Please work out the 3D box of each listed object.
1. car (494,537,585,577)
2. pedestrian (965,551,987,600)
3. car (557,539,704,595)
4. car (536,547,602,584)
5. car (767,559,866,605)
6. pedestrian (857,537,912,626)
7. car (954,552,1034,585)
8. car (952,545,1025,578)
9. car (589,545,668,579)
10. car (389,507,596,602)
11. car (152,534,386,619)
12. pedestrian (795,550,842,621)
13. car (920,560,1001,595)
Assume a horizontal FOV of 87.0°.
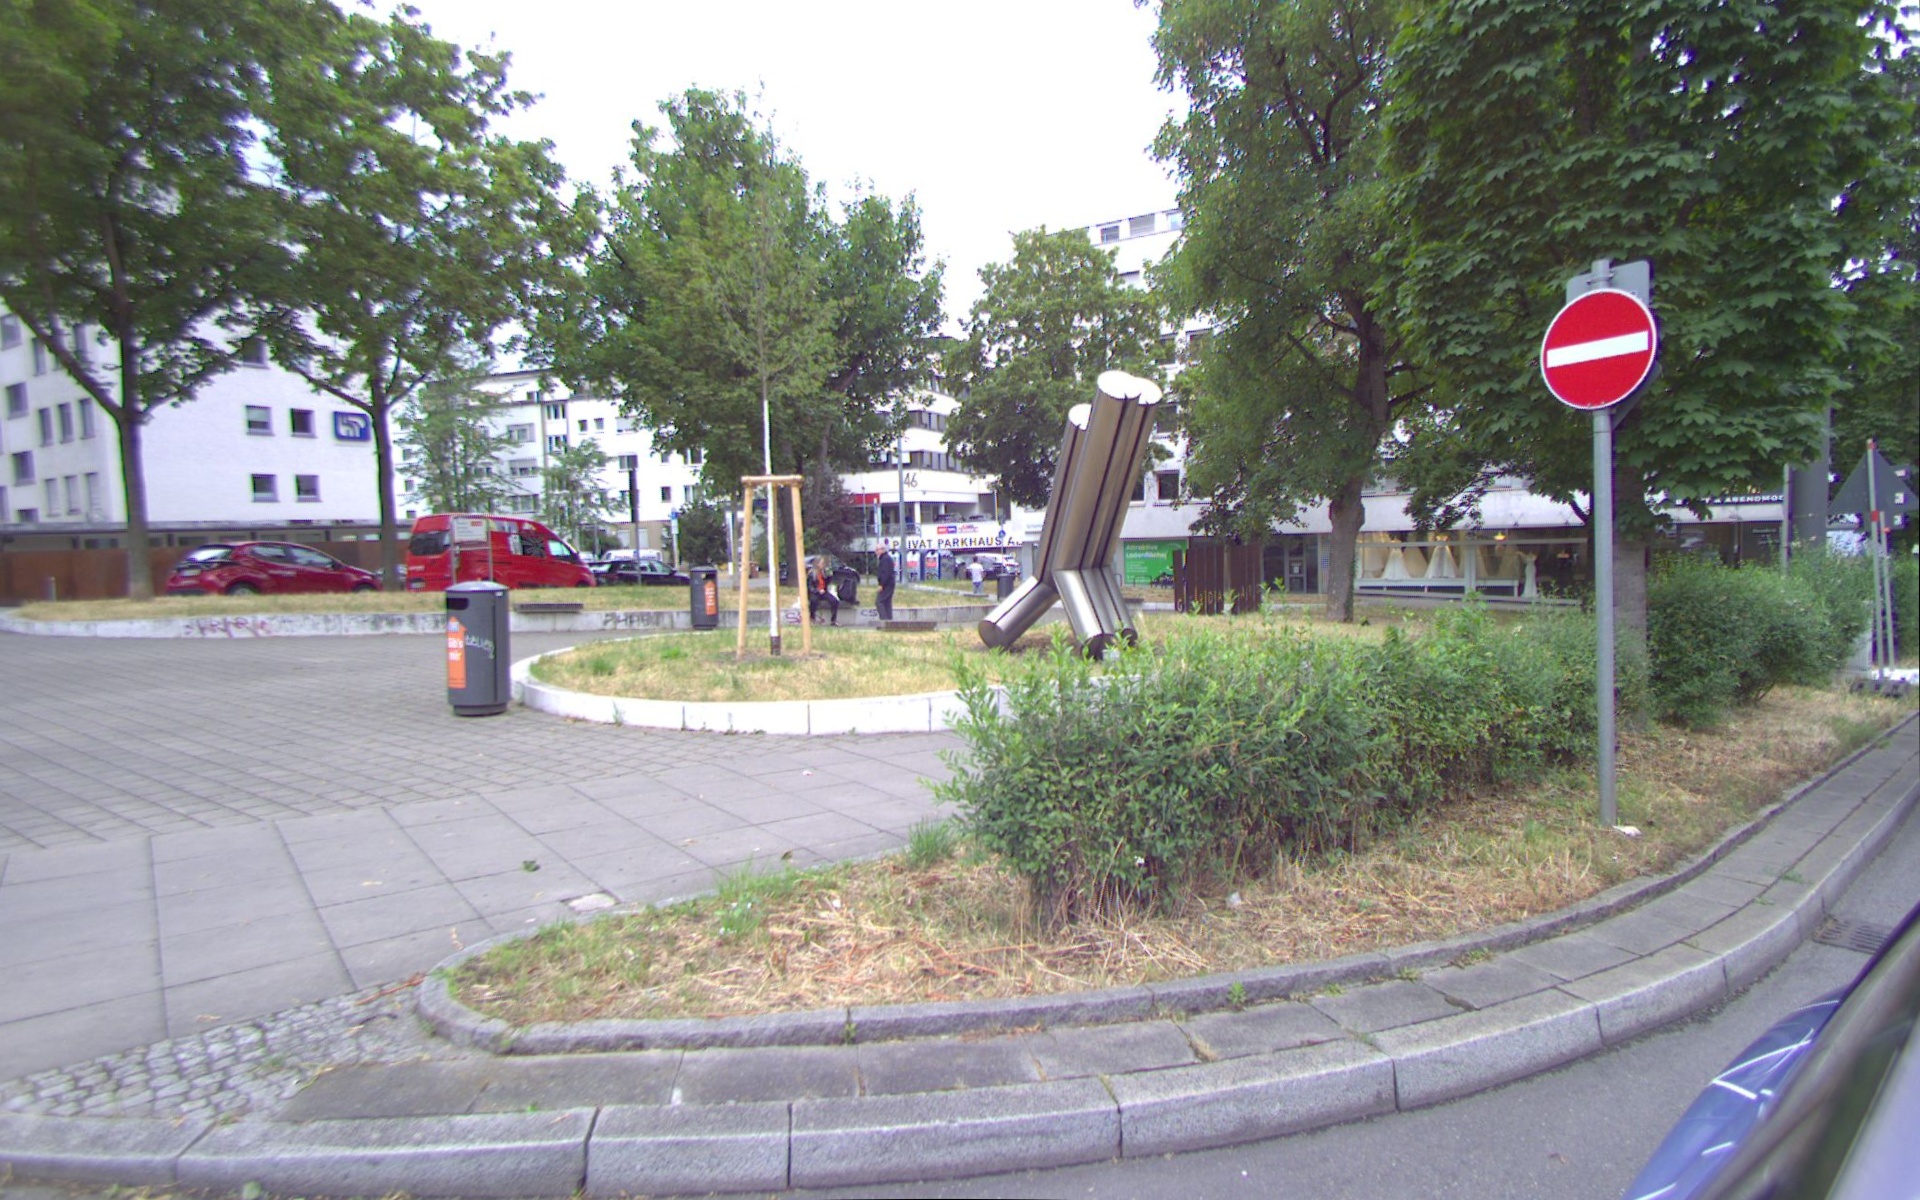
[{"bbox_3d":[-20.892,-2.108,50.195,4.582,1.900,2.078,2,2,35],"label":"car"},{"bbox_3d":[0.510,-0.794,32.613,0.517,1.552,0.675,0,2,-15],"label":"pedestrian"},{"bbox_3d":[-10.086,-1.021,31.348,1.977,1.584,4.383,1,2,22],"label":"car"},{"bbox_3d":[-24.435,-2.158,63.156,3.969,2.272,1.985,2,2,34],"label":"car"},{"bbox_3d":[-5.914,-0.778,42.310,1.977,1.762,4.750,1,2,22],"label":"car"},{"bbox_3d":[-1.402,-0.358,18.844,0.719,1.622,0.786,1,2,26],"label":"pedestrian"},{"bbox_3d":[1.844,-1.736,55.058,3.982,1.738,1.972,2,3,40],"label":"car"},{"bbox_3d":[1.594,-2.169,58.033,3.977,1.708,1.667,-1,0,38],"label":"car"},{"bbox_3d":[-19.491,-2.245,59.402,4.760,1.969,2.198,2,2,38],"label":"car"},{"bbox_3d":[-12.000,-1.160,26.398,2.101,2.240,4.862,1,2,20],"label":"car"},{"bbox_3d":[-14.093,-0.506,20.881,1.729,1.584,3.690,1,2,22],"label":"car"},{"bbox_3d":[-2.671,-0.288,19.100,0.672,1.308,0.657,-1,2,-32],"label":"pedestrian"},{"bbox_3d":[-0.005,-1.203,53.684,3.982,1.738,1.972,2,3,40],"label":"car"}]
